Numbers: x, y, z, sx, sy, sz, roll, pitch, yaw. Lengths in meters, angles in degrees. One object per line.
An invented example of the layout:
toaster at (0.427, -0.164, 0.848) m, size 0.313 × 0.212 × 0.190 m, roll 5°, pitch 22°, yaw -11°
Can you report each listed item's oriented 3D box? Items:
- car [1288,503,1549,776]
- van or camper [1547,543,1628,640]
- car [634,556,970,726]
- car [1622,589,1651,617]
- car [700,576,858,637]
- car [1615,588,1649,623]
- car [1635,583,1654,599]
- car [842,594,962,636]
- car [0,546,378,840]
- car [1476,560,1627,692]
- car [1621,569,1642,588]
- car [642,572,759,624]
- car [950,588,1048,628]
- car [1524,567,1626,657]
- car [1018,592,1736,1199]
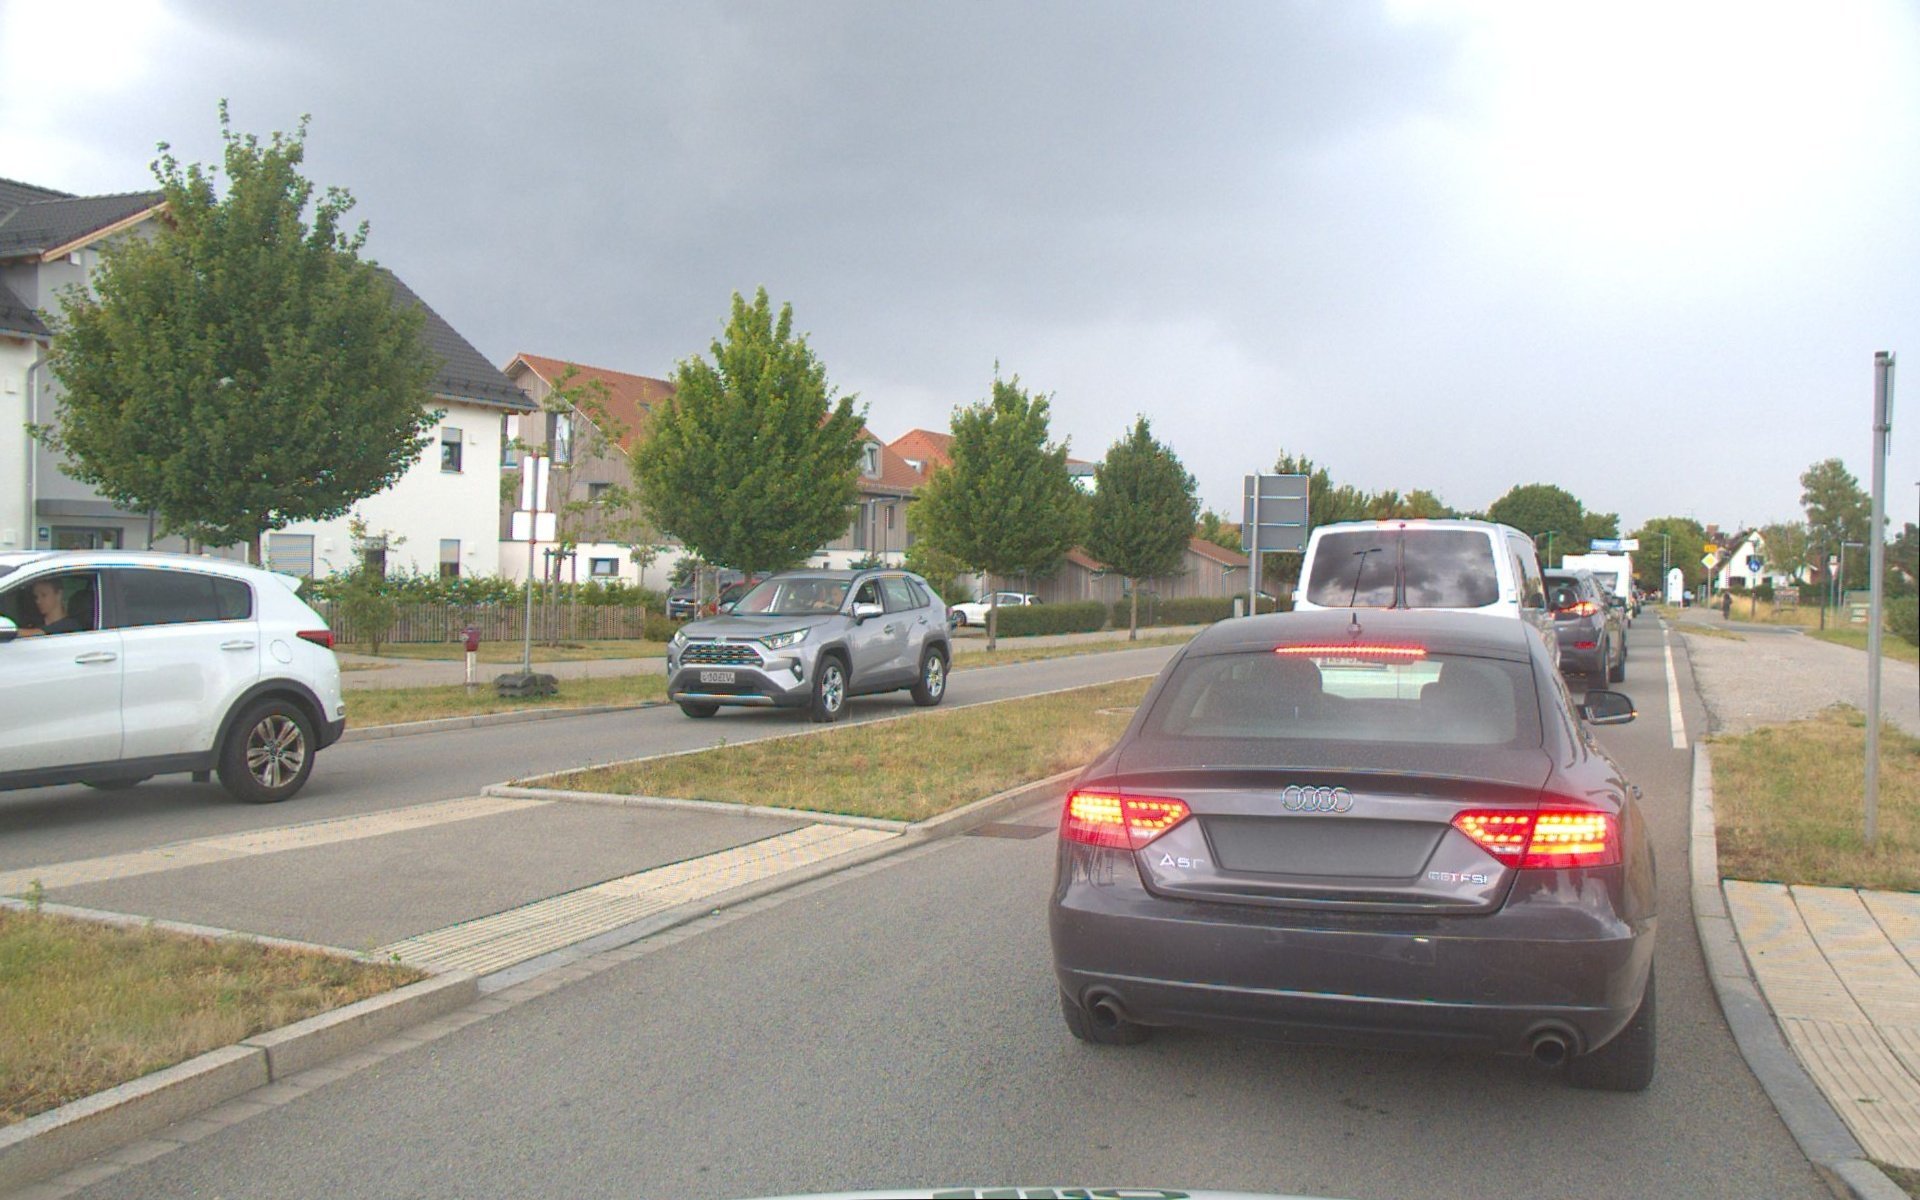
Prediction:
car at (4.056, 0.256, 14.197) m, size 1.828 × 1.968 × 4.001 m, roll 2°, pitch 1°, yaw 20°
van or camper at (23.447, -0.305, 61.654) m, size 2.571 × 3.381 × 6.820 m, roll 2°, pitch 0°, yaw 22°
car at (-1.671, 0.396, 19.344) m, size 1.953 × 1.733 × 4.634 m, roll 1°, pitch 0°, yaw 23°
car at (42.099, 0.159, 102.936) m, size 1.581 × 1.659 × 3.614 m, roll 2°, pitch 1°, yaw 24°
car at (-5.598, 0.164, 51.090) m, size 4.442 × 1.709 × 1.998 m, roll 2°, pitch 1°, yaw 27°
car at (36.433, 0.279, 89.653) m, size 1.581 × 1.825 × 3.998 m, roll 2°, pitch 1°, yaw 24°
car at (64.143, -0.856, 154.899) m, size 1.581 × 1.433 × 3.614 m, roll 2°, pitch 1°, yaw 24°
car at (-2.054, 0.514, 58.769) m, size 3.834 × 1.338 × 1.843 m, roll 2°, pitch 1°, yaw 21°
car at (-5.887, 0.510, 10.235) m, size 1.675 × 1.654 × 4.447 m, roll 1°, pitch 0°, yaw 25°
car at (8.464, 0.322, 23.486) m, size 1.741 × 1.646 × 3.999 m, roll 2°, pitch 1°, yaw 23°
car at (80.996, -2.578, 199.504) m, size 1.955 × 2.250 × 3.995 m, roll 2°, pitch 1°, yaw 27°
car at (-9.491, -0.063, 60.765) m, size 1.955 × 1.803 × 4.459 m, roll 1°, pitch 1°, yaw 28°
car at (1.603, 0.316, 67.714) m, size 3.652 × 1.507 × 1.687 m, roll 2°, pitch 1°, yaw 20°
car at (12.195, 0.210, 32.668) m, size 1.740 × 1.646 × 3.999 m, roll 1°, pitch 0°, yaw 23°
car at (1.703, 0.705, 6.146) m, size 1.747 × 1.416 × 4.133 m, roll 2°, pitch 1°, yaw 20°
